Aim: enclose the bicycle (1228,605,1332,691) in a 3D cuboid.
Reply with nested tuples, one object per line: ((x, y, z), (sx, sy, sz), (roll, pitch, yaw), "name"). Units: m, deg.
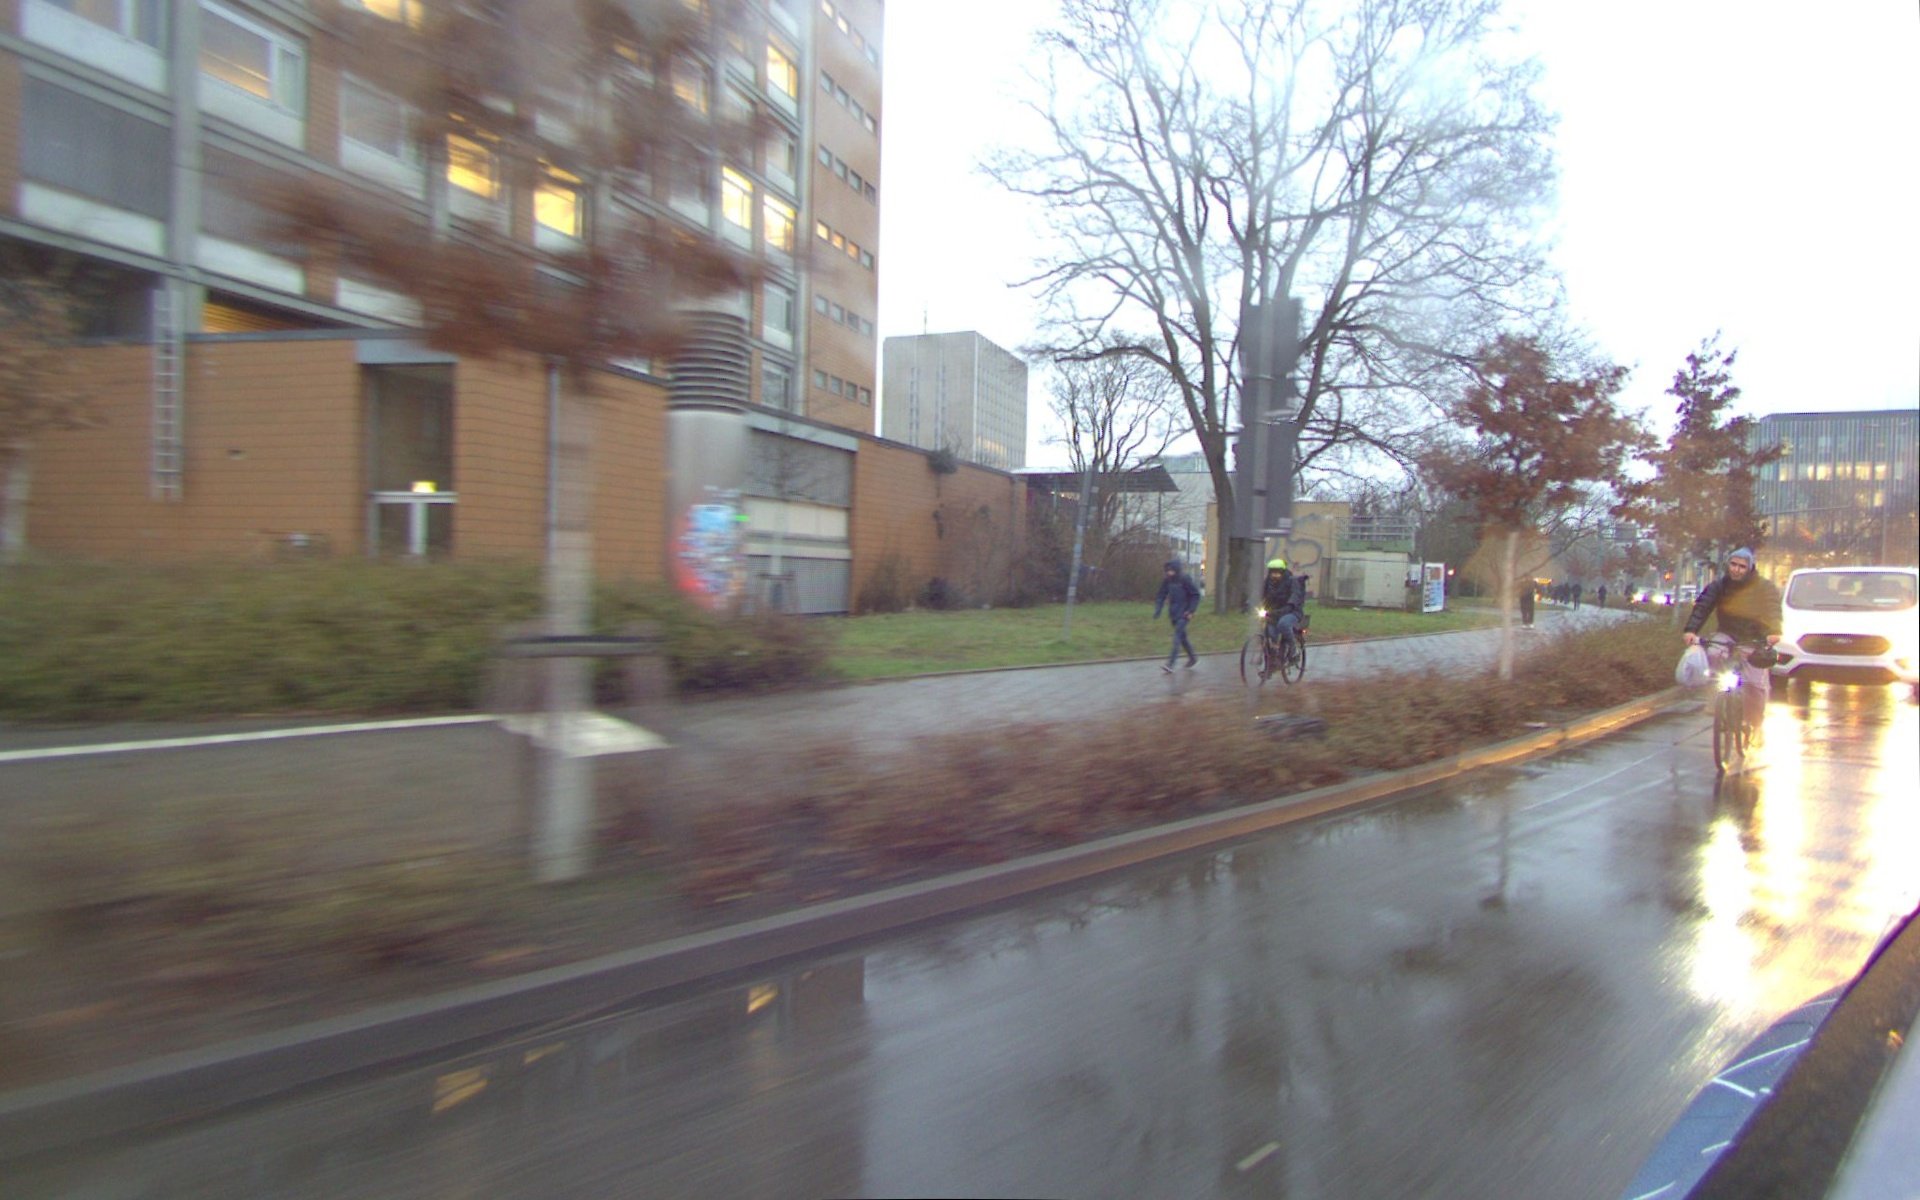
((4.236, 0.595, 13.297), (0.561, 0.958, 2.065), (3, 3, 39), "bicycle")

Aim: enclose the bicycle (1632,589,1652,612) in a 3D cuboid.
((37.602, 0.000, 55.827), (0.801, 1.155, 2.186), (6, 4, 35), "bicycle")

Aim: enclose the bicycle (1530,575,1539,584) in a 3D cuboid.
((71.758, -2.599, 126.375), (0.787, 1.028, 2.876), (2, 3, 27), "bicycle")

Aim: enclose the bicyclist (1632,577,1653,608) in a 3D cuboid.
((37.699, -0.428, 55.910), (0.802, 1.637, 1.072), (6, 4, 35), "bicyclist")

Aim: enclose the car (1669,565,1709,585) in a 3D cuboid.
((62.044, -2.139, 86.182), (1.981, 1.586, 4.718), (4, 3, 27), "car")

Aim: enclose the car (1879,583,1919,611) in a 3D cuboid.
((51.987, -0.157, 54.948), (1.913, 1.393, 4.457), (3, 3, 27), "car")

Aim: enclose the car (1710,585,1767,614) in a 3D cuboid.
((45.323, -0.055, 58.978), (1.758, 1.504, 4.430), (3, 3, 27), "car")

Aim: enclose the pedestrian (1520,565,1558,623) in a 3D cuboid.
((17.981, -0.178, 31.417), (0.906, 1.708, 0.917), (4, 1, 32), "pedestrian")

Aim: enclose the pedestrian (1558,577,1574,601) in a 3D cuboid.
((47.483, -0.849, 79.335), (0.924, 1.848, 0.826), (3, 2, 27), "pedestrian")

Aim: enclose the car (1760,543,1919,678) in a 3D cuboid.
((15.101, 0.213, 16.778), (4.931, 1.945, 2.134), (3, 0, -43), "car")

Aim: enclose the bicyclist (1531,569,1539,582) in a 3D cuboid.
((71.754, -3.065, 126.371), (0.760, 1.508, 0.985), (2, 2, 28), "bicyclist")

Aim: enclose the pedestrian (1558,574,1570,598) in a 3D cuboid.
((51.666, -1.233, 86.593), (0.758, 2.038, 0.903), (2, 2, 26), "pedestrian")

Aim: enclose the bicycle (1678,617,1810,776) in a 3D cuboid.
((7.168, 0.803, 9.220), (0.792, 1.238, 1.874), (0, 0, 43), "bicycle")

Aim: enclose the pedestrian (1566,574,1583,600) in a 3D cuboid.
((45.049, -0.938, 74.192), (0.924, 1.848, 0.826), (3, 2, 27), "pedestrian")

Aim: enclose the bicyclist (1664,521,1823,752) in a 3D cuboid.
((7.103, 0.288, 9.160), (1.024, 1.907, 1.216), (0, 0, 44), "bicyclist")

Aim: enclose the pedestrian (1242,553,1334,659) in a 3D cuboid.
((4.368, 0.054, 13.478), (0.874, 1.333, 0.836), (3, 3, 41), "pedestrian")

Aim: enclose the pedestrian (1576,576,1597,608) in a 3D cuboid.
((37.731, -0.506, 60.967), (0.924, 1.848, 0.826), (3, 2, 27), "pedestrian")

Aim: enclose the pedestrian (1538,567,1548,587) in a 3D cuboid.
((59.274, -2.357, 102.934), (0.758, 2.038, 0.766), (2, 2, 26), "pedestrian")

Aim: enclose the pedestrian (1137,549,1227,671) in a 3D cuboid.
((3.298, 0.125, 15.021), (0.808, 1.708, 1.053), (4, 4, 44), "pedestrian")
